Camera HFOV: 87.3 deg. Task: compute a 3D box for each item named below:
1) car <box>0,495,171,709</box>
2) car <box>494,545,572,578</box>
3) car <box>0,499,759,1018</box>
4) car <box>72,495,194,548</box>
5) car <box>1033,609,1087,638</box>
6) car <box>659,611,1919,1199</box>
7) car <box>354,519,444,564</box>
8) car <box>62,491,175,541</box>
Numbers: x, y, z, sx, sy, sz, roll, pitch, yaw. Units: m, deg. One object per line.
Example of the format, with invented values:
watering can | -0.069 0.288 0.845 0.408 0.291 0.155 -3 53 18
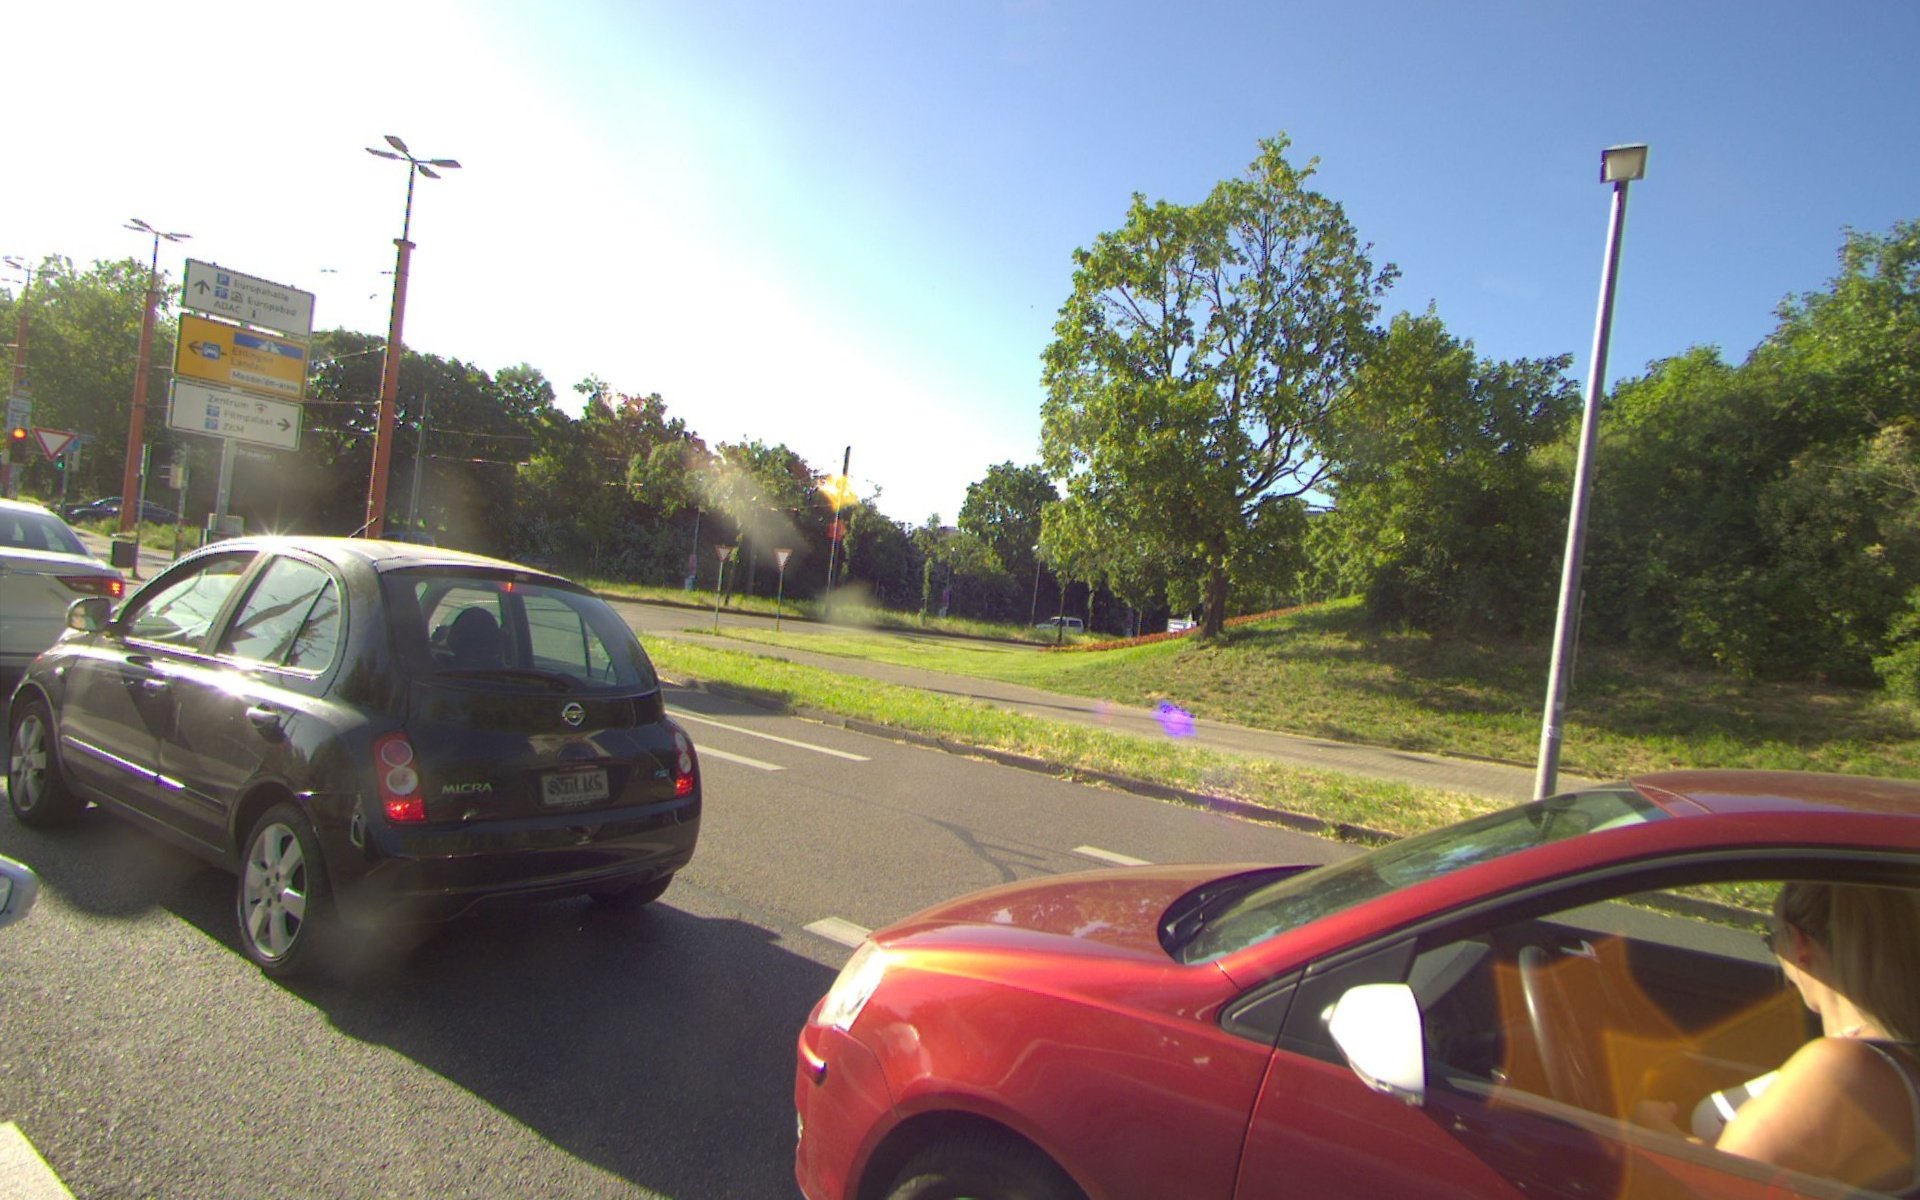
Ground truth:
car | -8.368 -0.176 8.077 4.256 1.457 1.802 6 -2 33
car | -26.305 -2.341 61.948 4.093 1.419 1.642 8 -1 -33
car | -2.795 0.466 4.622 3.385 1.457 1.579 6 -2 32
car | -39.654 -3.723 48.351 4.085 1.812 1.786 8 -1 -28
car | 8.131 1.919 81.947 4.093 1.771 1.642 8 -1 -33
car | 1.347 1.001 1.867 3.629 1.477 1.579 6 -2 32
car | -30.659 -3.190 55.126 4.087 1.812 1.786 8 -1 -29
car | -43.170 -4.274 51.731 4.092 1.812 1.783 8 -1 -33
